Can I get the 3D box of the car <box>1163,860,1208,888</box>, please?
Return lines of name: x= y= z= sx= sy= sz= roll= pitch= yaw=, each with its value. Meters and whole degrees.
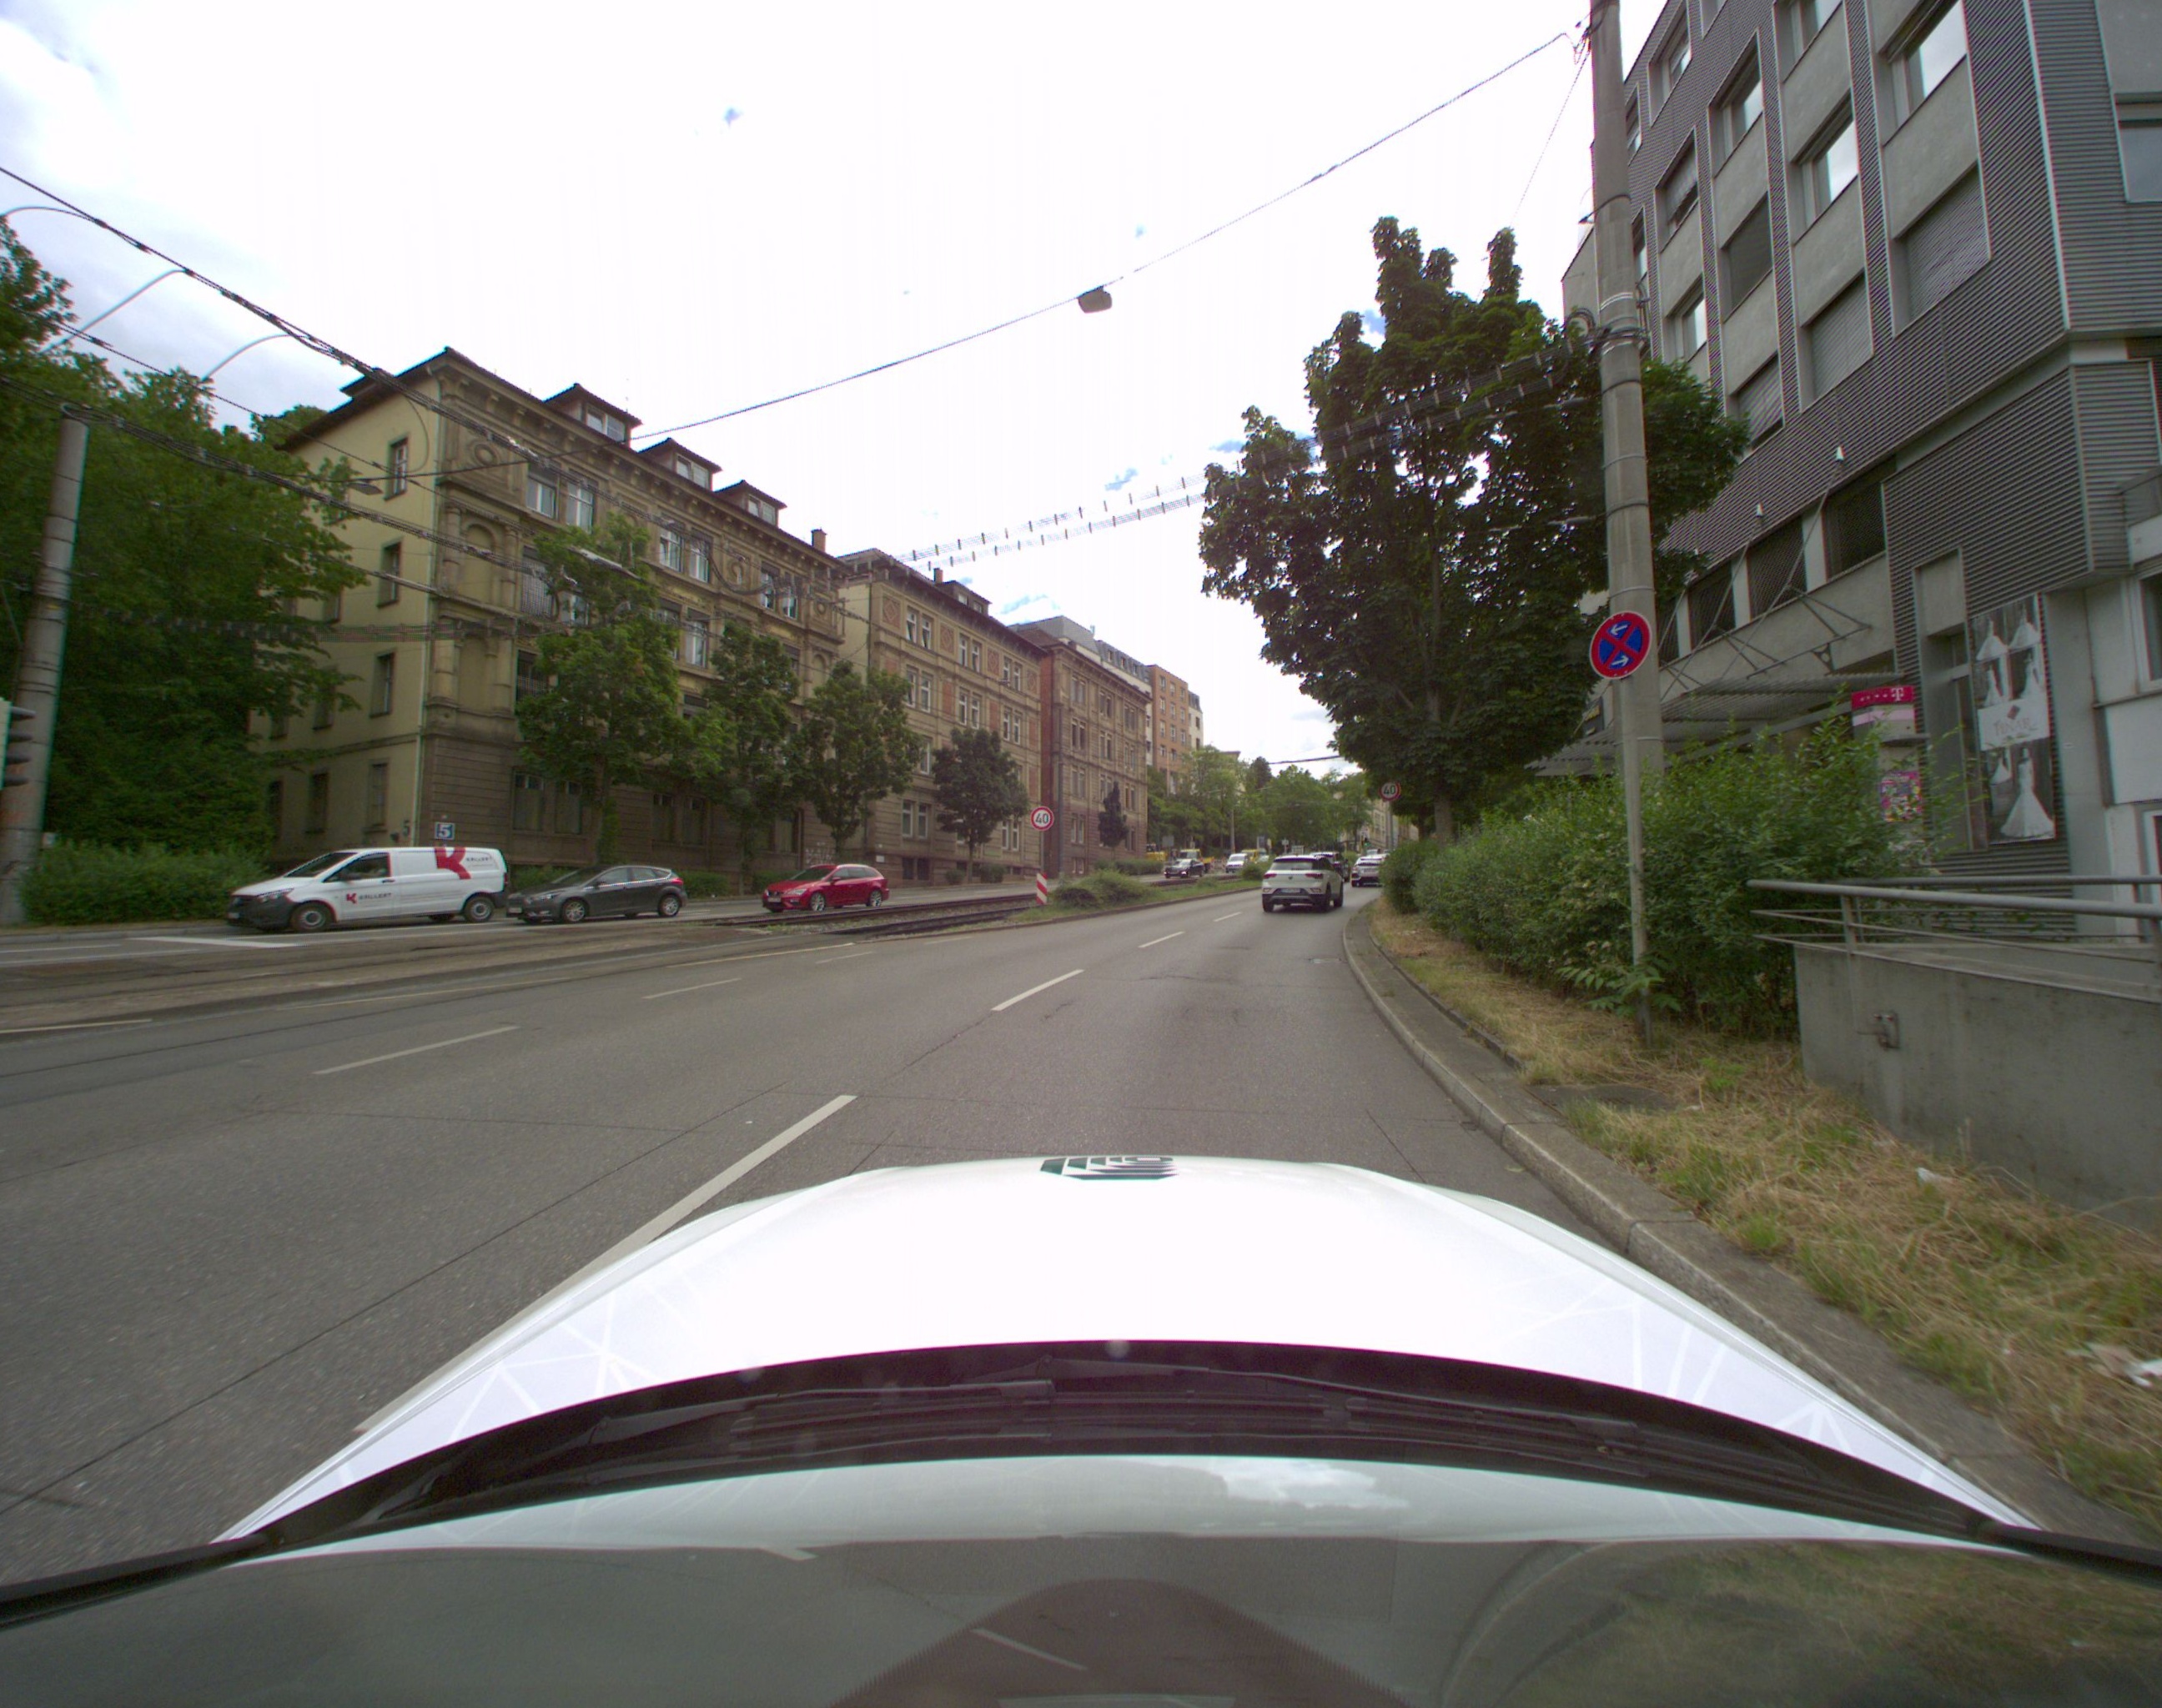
car: x=7.986 y=1.544 z=61.669 sx=1.802 sy=1.451 sz=4.971 roll=0 pitch=-9 yaw=26

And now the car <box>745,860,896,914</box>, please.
car: x=-7.998 y=0.960 z=25.448 sx=1.975 sy=1.519 sz=4.431 roll=0 pitch=-1 yaw=25

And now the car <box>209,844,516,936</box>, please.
car: x=-16.555 y=0.782 z=19.159 sx=1.975 sy=1.850 sz=5.022 roll=-2 pitch=-2 yaw=26

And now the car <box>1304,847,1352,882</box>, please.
car: x=13.177 y=0.556 z=43.269 sx=1.822 sy=1.740 sz=4.023 roll=0 pitch=-1 yaw=26

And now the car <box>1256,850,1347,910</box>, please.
car: x=6.425 y=0.729 z=23.410 sx=1.921 sy=1.567 sz=4.068 roll=-1 pitch=-1 yaw=24

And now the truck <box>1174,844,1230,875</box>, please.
truck: x=11.339 y=0.575 z=75.621 sx=2.891 sy=2.510 sz=7.194 roll=4 pitch=0 yaw=27

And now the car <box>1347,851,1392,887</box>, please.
car: x=13.677 y=0.729 z=38.647 sx=1.887 sy=1.574 sz=3.852 roll=1 pitch=-2 yaw=19

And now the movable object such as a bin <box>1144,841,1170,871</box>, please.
movable object such as a bin: x=7.366 y=0.211 z=78.590 sx=1.976 sy=2.838 sz=2.040 roll=-2 pitch=-1 yaw=21

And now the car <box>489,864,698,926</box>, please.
car: x=-12.491 y=0.996 z=21.203 sx=1.726 sy=1.427 sz=4.431 roll=-1 pitch=-1 yaw=26
